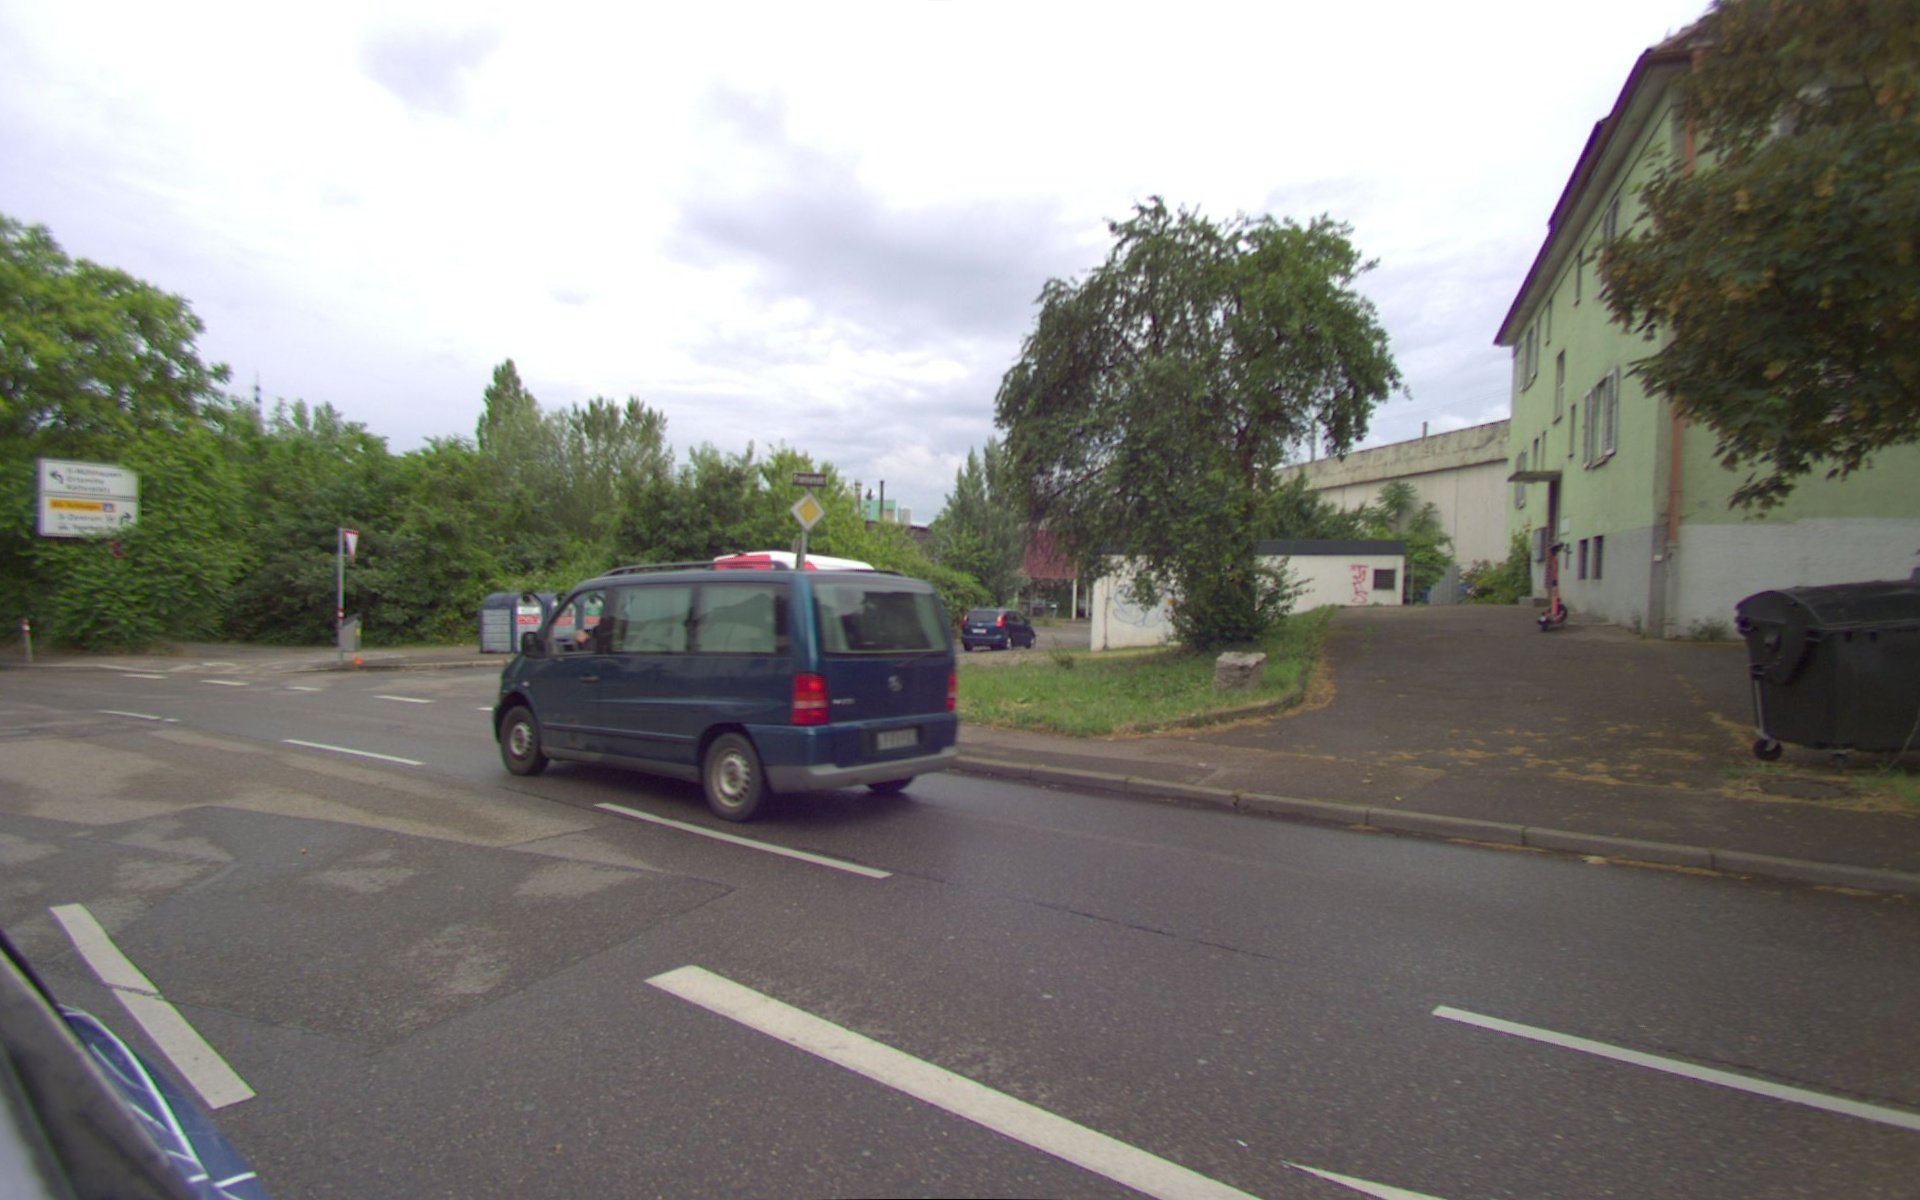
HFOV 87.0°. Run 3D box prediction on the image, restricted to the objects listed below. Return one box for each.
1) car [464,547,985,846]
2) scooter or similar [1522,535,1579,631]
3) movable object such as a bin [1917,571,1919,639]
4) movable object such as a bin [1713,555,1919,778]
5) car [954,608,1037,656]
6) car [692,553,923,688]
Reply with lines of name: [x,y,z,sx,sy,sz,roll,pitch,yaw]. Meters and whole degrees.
car: [-2.225,0.651,8.803,4.677,1.946,1.939,-1,-1,38]
scooter or similar: [8.547,-0.271,14.626,0.529,1.283,1.507,0,4,37]
movable object such as a bin: [8.555,0.443,7.708,1.441,1.448,1.102,-6,3,-4]
movable object such as a bin: [7.102,0.445,7.855,1.441,1.448,1.296,-6,3,-5]
car: [1.397,1.145,38.068,1.985,1.642,4.225,0,0,19]
car: [-3.260,0.405,23.705,2.248,2.675,6.773,0,0,22]
